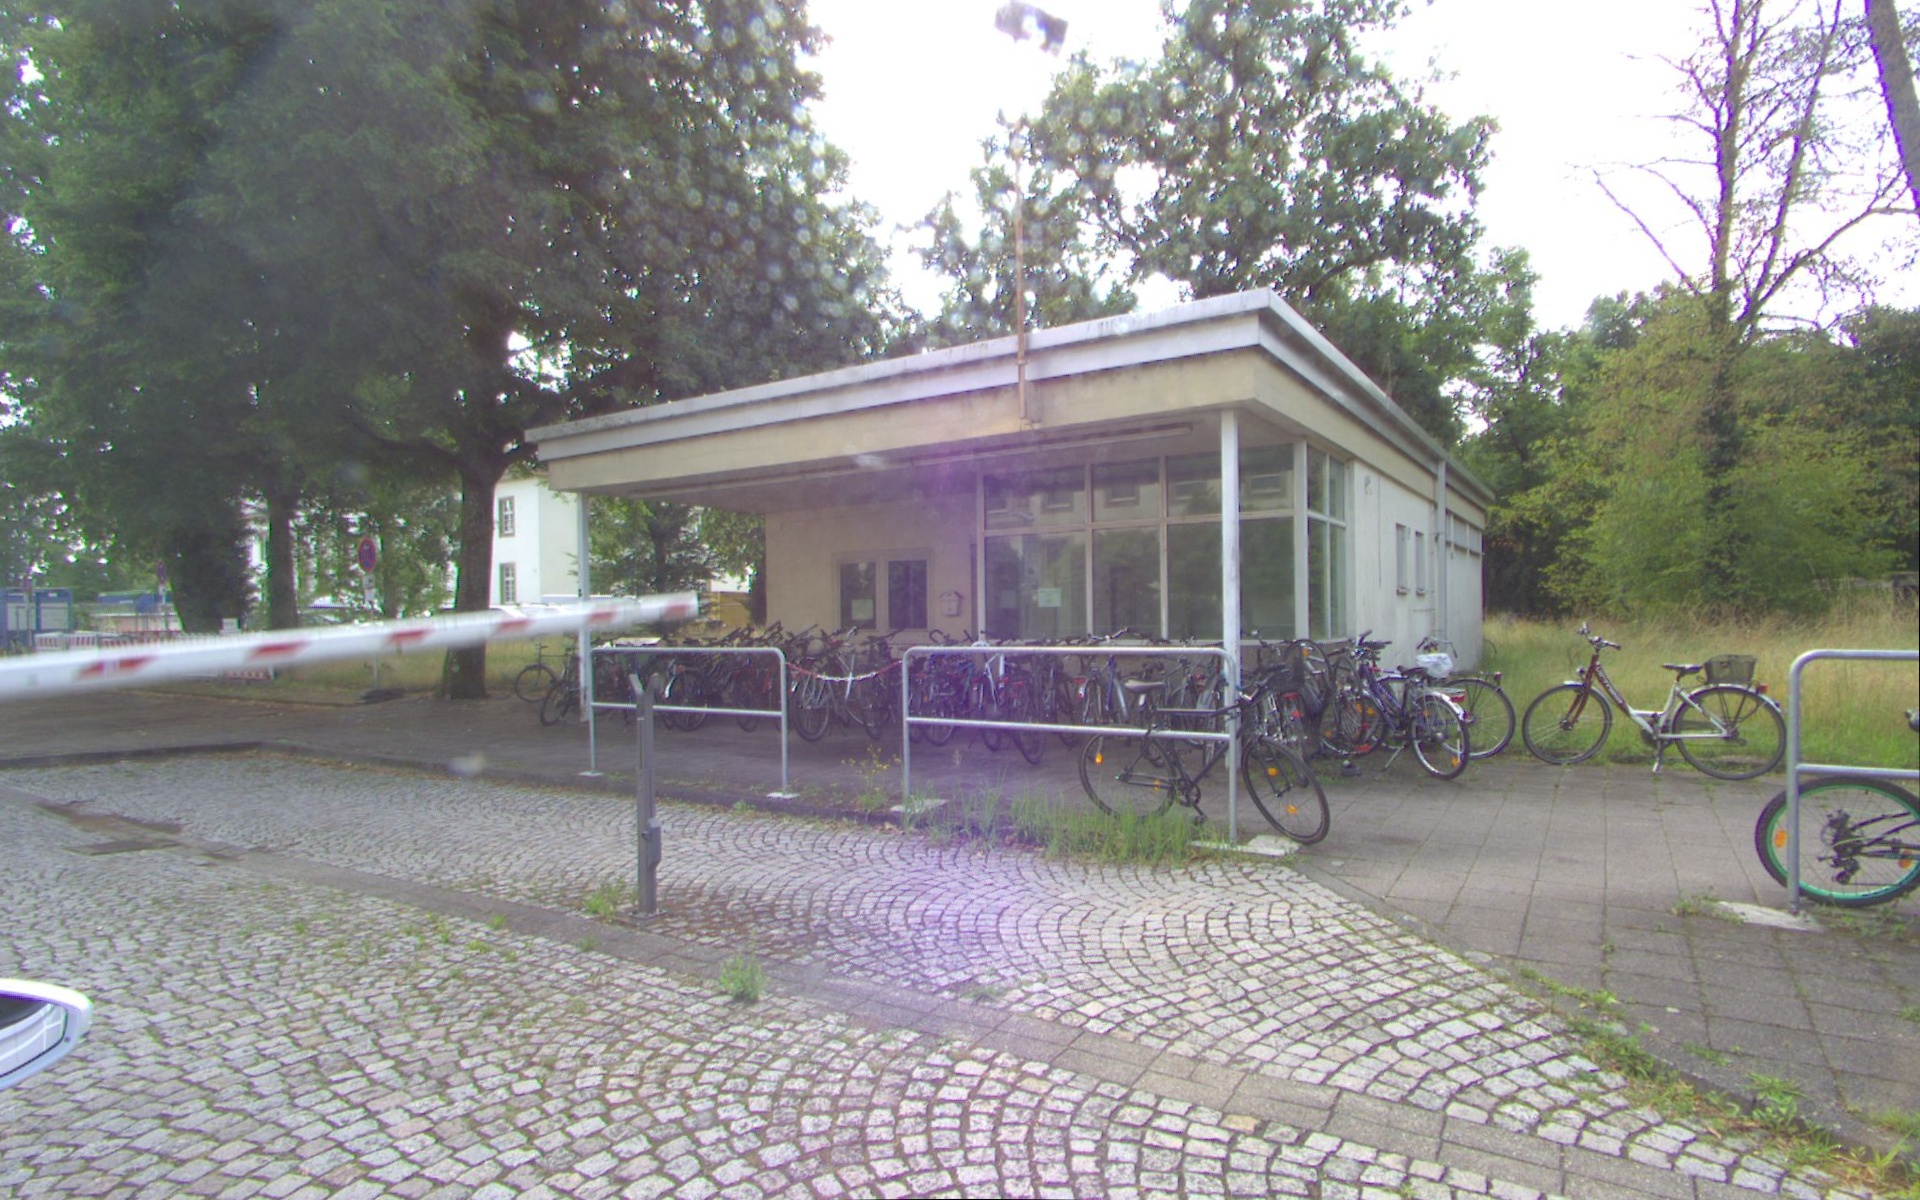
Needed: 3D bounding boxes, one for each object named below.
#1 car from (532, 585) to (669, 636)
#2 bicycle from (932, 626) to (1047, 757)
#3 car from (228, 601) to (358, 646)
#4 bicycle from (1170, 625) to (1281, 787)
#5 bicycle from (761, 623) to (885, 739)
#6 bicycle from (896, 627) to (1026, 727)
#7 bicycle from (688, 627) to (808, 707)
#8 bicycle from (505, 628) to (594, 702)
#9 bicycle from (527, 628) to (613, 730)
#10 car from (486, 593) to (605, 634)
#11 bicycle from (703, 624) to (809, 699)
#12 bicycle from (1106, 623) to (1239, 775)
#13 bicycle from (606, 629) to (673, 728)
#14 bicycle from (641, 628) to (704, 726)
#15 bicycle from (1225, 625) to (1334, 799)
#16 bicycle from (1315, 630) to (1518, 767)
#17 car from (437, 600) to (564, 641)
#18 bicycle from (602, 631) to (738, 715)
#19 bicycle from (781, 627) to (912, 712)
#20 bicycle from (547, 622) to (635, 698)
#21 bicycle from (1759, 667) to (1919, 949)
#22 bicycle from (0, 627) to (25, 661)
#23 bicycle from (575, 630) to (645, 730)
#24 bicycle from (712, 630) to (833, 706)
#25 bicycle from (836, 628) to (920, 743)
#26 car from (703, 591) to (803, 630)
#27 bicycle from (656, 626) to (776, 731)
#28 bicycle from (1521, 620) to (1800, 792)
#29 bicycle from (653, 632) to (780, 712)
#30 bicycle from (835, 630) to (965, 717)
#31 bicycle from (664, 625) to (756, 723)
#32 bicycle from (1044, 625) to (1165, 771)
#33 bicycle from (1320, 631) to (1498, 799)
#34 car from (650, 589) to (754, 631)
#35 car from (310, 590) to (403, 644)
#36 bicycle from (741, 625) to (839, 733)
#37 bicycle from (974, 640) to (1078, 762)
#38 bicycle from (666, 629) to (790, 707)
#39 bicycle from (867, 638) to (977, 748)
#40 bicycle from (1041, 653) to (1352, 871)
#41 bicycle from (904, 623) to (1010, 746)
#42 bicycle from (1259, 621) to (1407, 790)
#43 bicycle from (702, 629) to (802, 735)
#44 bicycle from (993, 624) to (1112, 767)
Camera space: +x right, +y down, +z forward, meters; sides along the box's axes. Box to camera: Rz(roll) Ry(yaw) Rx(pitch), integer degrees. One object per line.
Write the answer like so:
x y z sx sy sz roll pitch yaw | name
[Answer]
-17.832 0.532 49.866 6.079 2.338 2.000 -1 -1 2 | car
0.352 0.879 10.334 0.395 1.186 2.015 0 0 26 | bicycle
-28.510 0.993 42.923 1.973 1.844 4.208 -2 -1 35 | car
2.215 0.826 8.256 0.430 1.186 1.388 -3 -1 33 | bicycle
-1.518 0.881 11.422 0.574 1.186 1.802 -3 -1 21 | bicycle
0.043 0.950 12.826 0.441 1.133 1.880 -2 -1 45 | bicycle
-3.180 0.974 14.947 1.866 1.134 0.371 0 1 22 | bicycle
-6.641 1.029 16.182 1.562 1.101 0.503 0 1 31 | bicycle
-5.031 0.994 12.983 0.425 1.186 1.382 -3 1 4 | bicycle
-19.489 0.649 47.205 4.746 1.812 2.000 -1 -1 5 | car
-3.284 0.980 16.009 1.871 1.143 0.370 -3 0 31 | bicycle
1.990 0.834 9.126 0.479 1.186 2.066 -3 -1 31 | bicycle
-4.091 0.975 12.864 0.352 1.186 1.383 -3 -1 1 | bicycle
-3.698 0.961 12.953 0.352 1.186 1.383 -3 -1 1 | bicycle
2.501 0.823 7.979 0.428 1.186 1.652 -3 0 5 | bicycle
3.964 0.822 8.746 1.572 1.098 0.434 -1 1 32 | bicycle
-20.438 0.911 44.663 4.746 1.671 2.000 -1 -1 5 | car
-4.018 1.004 13.898 1.764 1.133 0.446 0 0 8 | bicycle
-1.593 0.949 14.000 1.866 1.134 0.371 -1 0 23 | bicycle
-6.124 1.000 16.576 1.533 1.186 0.503 -3 -1 32 | bicycle
4.317 0.850 4.093 1.572 1.071 0.728 -1 1 33 | bicycle
-30.153 1.412 31.718 1.702 1.020 0.331 -3 -1 32 | bicycle
-4.488 0.996 12.903 0.352 1.186 1.383 -3 -1 1 | bicycle
-2.864 1.041 15.238 1.866 1.097 0.371 -2 0 22 | bicycle
-0.897 0.921 11.367 0.394 1.174 1.704 -3 -1 14 | bicycle
-12.053 0.641 58.099 5.618 1.982 2.435 -4 -1 35 | car
-3.035 0.950 12.627 0.353 1.186 1.799 -3 -1 27 | bicycle
5.335 0.758 7.719 0.432 1.186 1.707 -2 0 -44 | bicycle
-3.483 1.007 14.277 1.880 1.081 0.371 -1 0 22 | bicycle
-0.868 1.025 14.277 1.866 1.134 0.371 1 1 22 | bicycle
-3.239 0.941 13.089 0.353 1.186 1.378 -3 -1 24 | bicycle
1.411 0.861 9.440 0.478 1.186 1.947 -3 -1 27 | bicycle
3.590 0.868 8.158 0.428 1.134 1.650 -2 2 -12 | bicycle
-14.181 0.551 54.868 5.618 1.982 2.435 -4 -1 35 | car
-29.431 0.857 48.750 5.288 2.455 1.987 -2 -1 36 | car
-2.028 0.913 12.185 0.488 1.186 1.805 -3 -1 12 | bicycle
0.692 0.952 9.911 0.348 1.044 1.769 -3 -1 26 | bicycle
-3.403 0.999 14.635 1.867 1.095 0.371 -2 0 23 | bicycle
-0.374 0.979 11.069 0.394 1.042 1.980 -3 -1 22 | bicycle
1.408 0.899 6.057 1.690 1.087 0.728 -1 1 33 | bicycle
0.014 0.870 10.906 0.394 1.186 1.980 -3 -1 22 | bicycle
3.001 0.796 8.209 0.428 1.186 1.652 -2 1 -5 | bicycle
-2.527 0.968 12.348 0.488 1.186 1.749 -3 -1 12 | bicycle
0.941 0.852 9.605 0.386 1.186 2.070 -3 -1 26 | bicycle
